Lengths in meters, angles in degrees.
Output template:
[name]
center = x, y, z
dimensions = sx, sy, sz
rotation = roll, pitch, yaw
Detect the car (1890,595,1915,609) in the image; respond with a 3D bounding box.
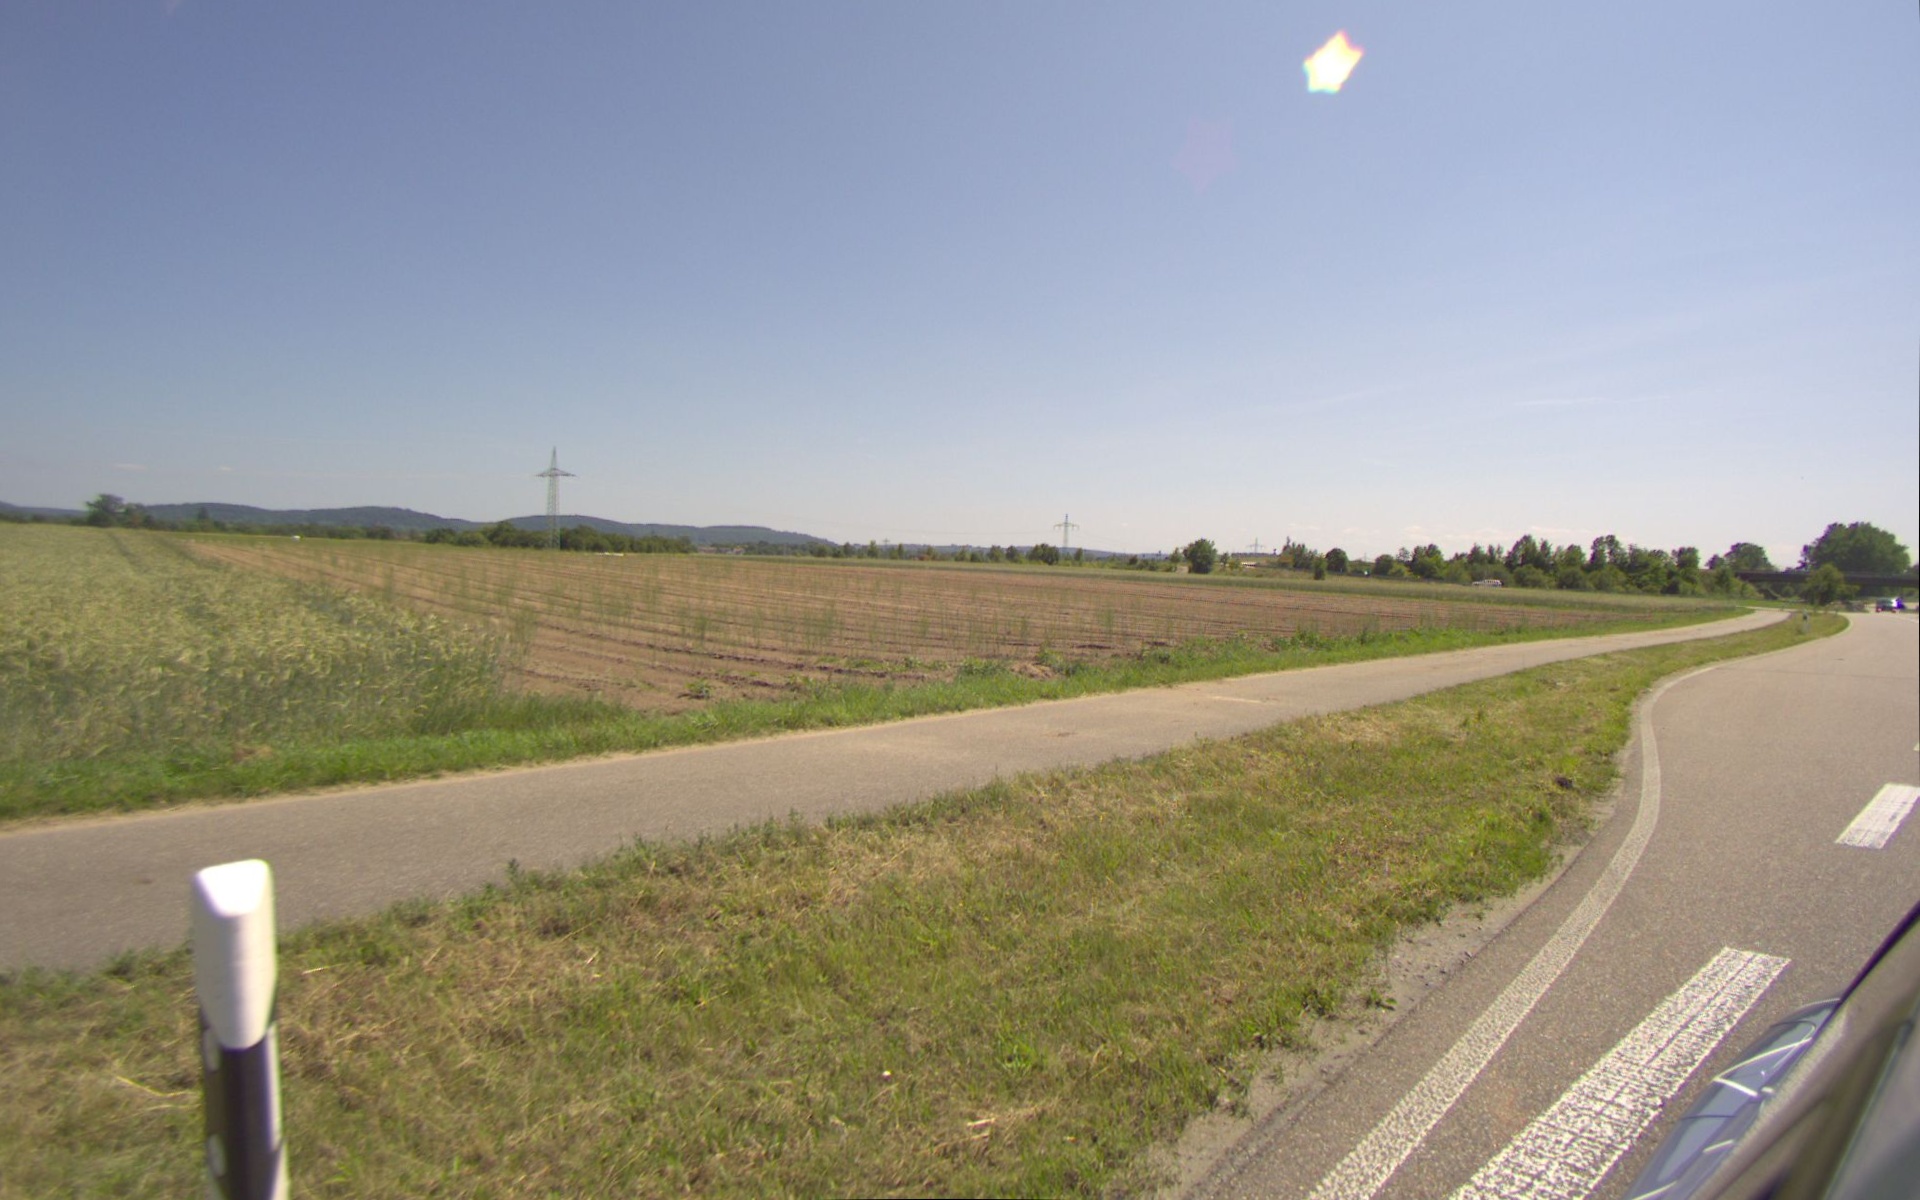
[car]
center = 116.508, 0.222, 125.167
dimensions = 1.976, 1.616, 5.322
rotation = 2, 2, 41
